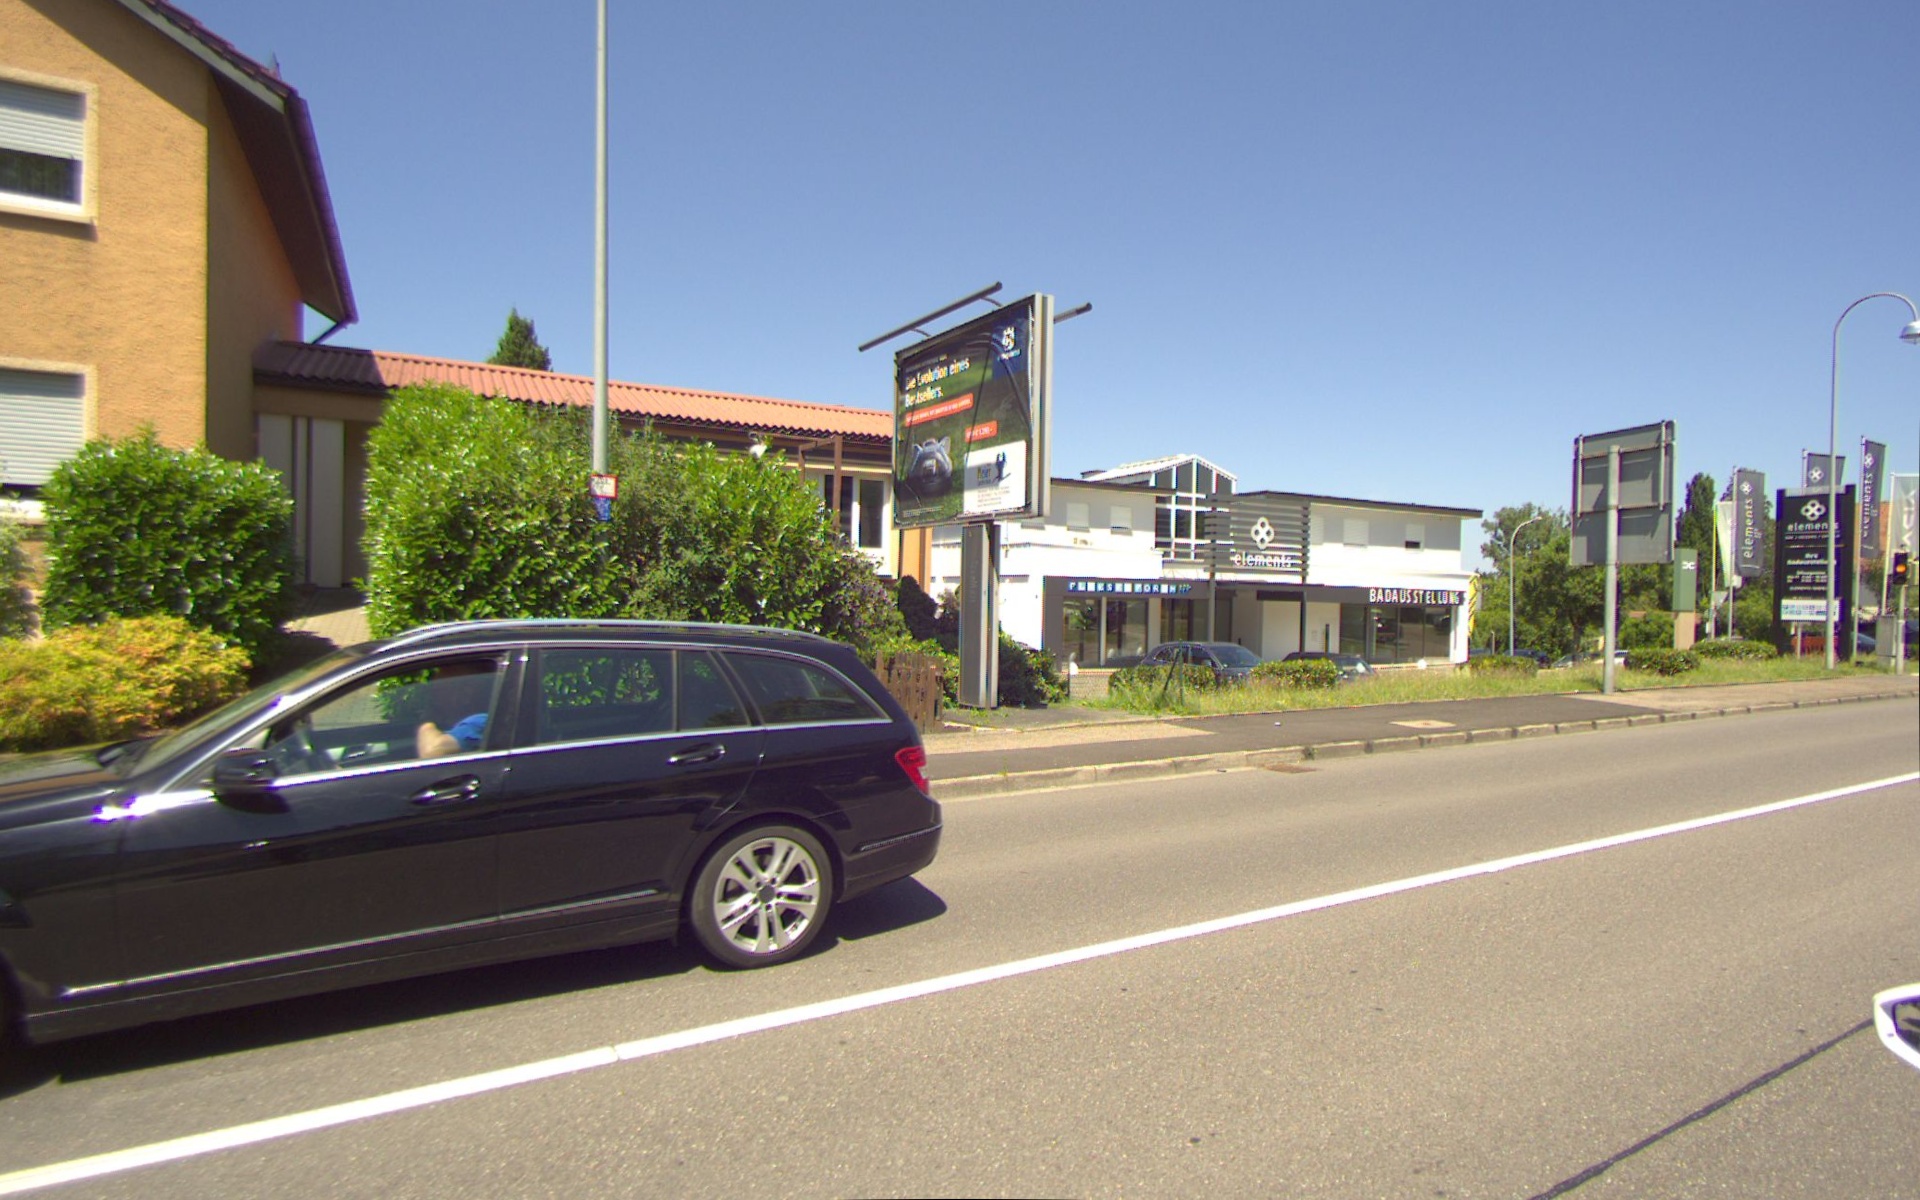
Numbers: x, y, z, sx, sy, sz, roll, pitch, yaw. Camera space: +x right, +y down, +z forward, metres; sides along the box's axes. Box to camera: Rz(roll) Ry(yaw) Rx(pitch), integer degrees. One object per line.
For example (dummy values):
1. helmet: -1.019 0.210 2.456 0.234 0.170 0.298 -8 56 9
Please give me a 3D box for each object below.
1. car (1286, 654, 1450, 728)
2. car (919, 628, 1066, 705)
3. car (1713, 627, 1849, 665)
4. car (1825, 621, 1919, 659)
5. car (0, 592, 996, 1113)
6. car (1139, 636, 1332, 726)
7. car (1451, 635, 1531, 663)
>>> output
1. car: 9.665 2.110 24.018 1.756 1.442 3.327 1 0 -26
2. car: 0.618 1.409 22.536 1.755 1.470 4.017 1 -1 -24
3. car: 35.814 1.987 43.962 1.897 1.546 4.292 1 -2 -17
4. car: 41.987 1.813 45.920 1.585 1.638 3.466 1 -1 -36
5. car: -2.071 0.751 4.381 4.229 1.515 1.701 1 0 -31
6. car: 6.299 1.799 23.472 1.871 1.709 4.314 2 0 -28
7. car: 32.042 2.939 60.665 1.736 1.432 3.967 2 0 -30
